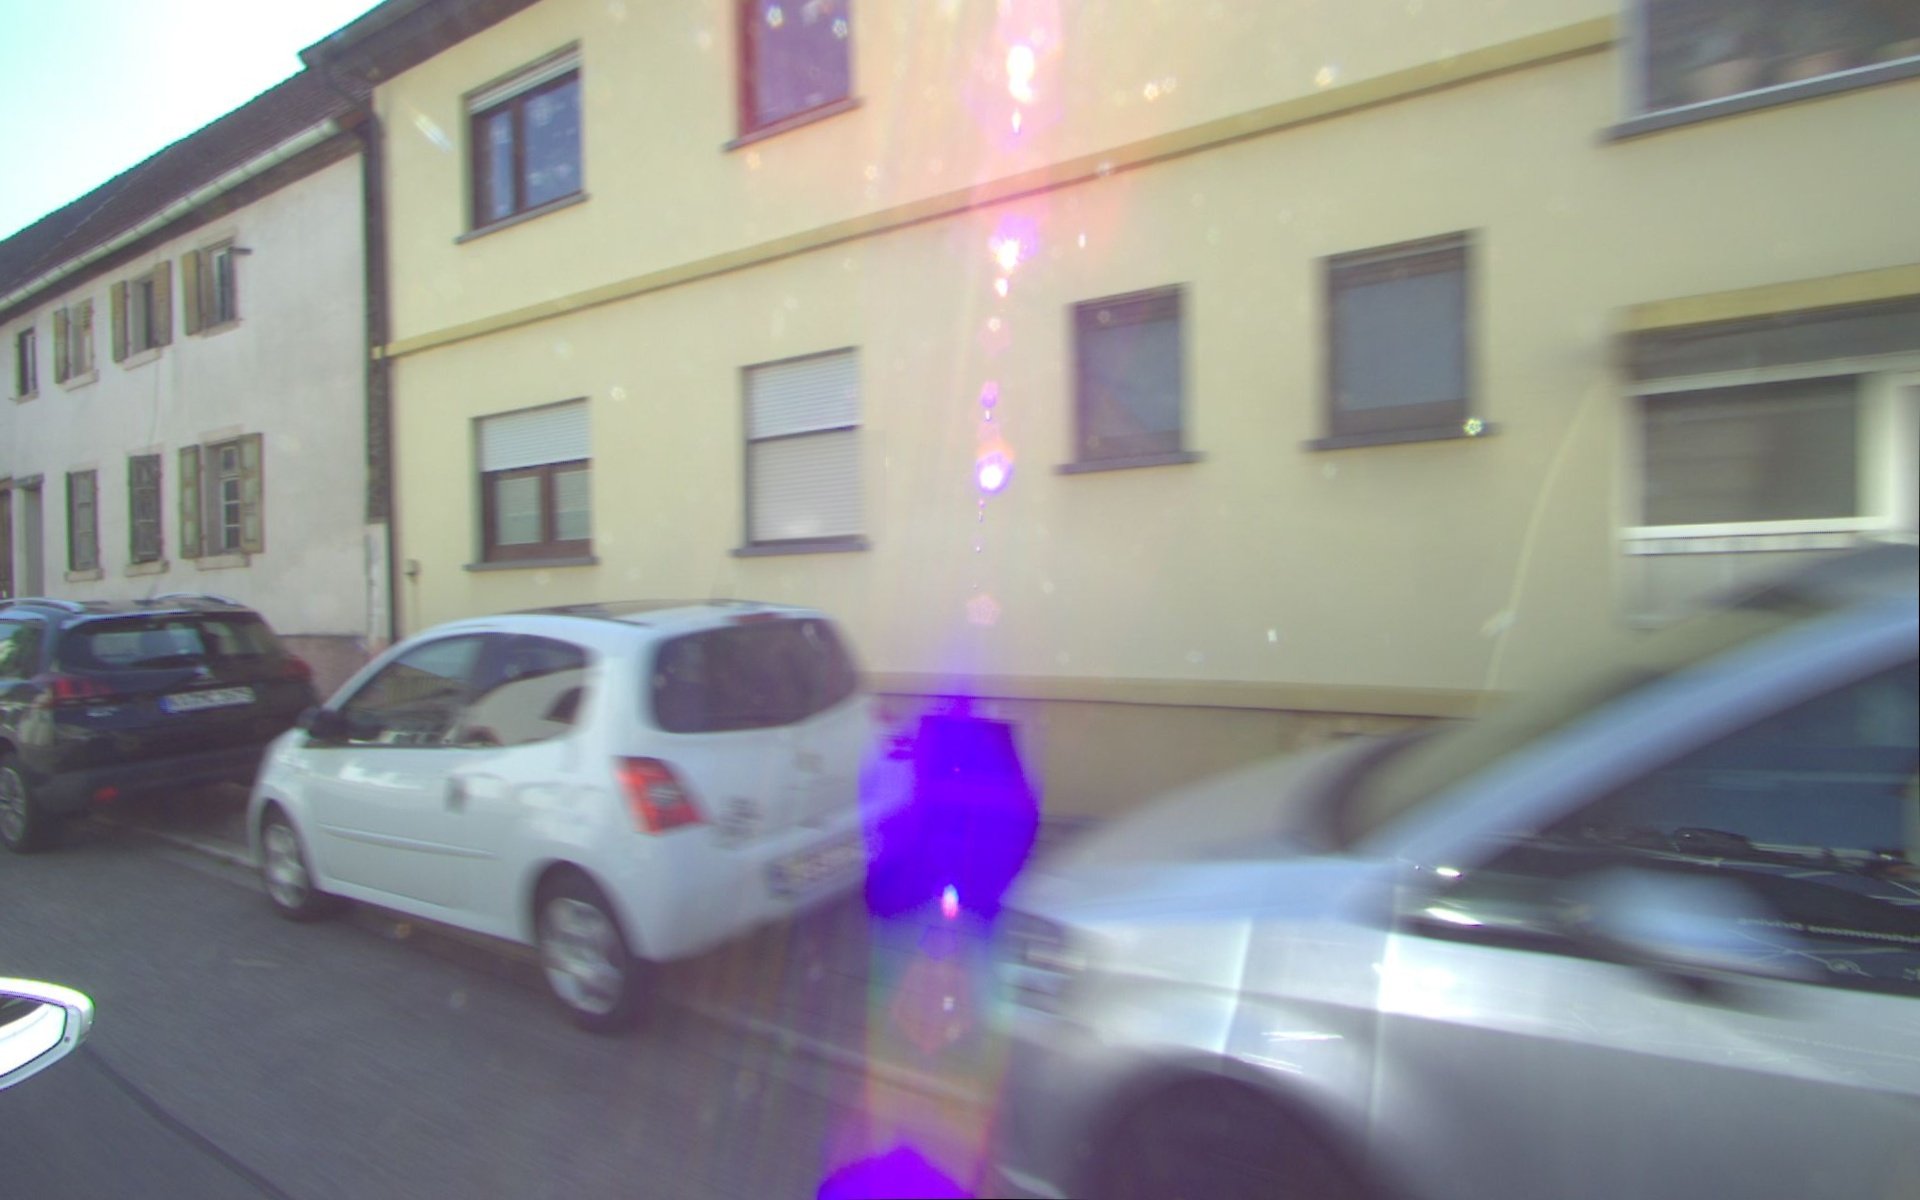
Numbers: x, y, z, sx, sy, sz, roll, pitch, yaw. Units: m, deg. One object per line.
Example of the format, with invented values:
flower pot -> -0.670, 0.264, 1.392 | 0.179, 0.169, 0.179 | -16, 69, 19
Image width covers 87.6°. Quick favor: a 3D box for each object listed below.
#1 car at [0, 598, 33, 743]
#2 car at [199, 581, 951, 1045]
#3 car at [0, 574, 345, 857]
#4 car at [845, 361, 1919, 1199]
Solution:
car -> -12.075, 0.752, 10.966 | 4.346, 1.489, 1.695 | 0, 2, 32
car -> -1.993, 0.671, 4.833 | 3.669, 1.458, 1.546 | 0, 2, 34
car -> -6.514, 0.647, 7.466 | 3.969, 1.605, 1.695 | 0, 2, 32
car -> 2.003, 0.591, 1.786 | 4.190, 1.751, 1.893 | 0, 0, 34
